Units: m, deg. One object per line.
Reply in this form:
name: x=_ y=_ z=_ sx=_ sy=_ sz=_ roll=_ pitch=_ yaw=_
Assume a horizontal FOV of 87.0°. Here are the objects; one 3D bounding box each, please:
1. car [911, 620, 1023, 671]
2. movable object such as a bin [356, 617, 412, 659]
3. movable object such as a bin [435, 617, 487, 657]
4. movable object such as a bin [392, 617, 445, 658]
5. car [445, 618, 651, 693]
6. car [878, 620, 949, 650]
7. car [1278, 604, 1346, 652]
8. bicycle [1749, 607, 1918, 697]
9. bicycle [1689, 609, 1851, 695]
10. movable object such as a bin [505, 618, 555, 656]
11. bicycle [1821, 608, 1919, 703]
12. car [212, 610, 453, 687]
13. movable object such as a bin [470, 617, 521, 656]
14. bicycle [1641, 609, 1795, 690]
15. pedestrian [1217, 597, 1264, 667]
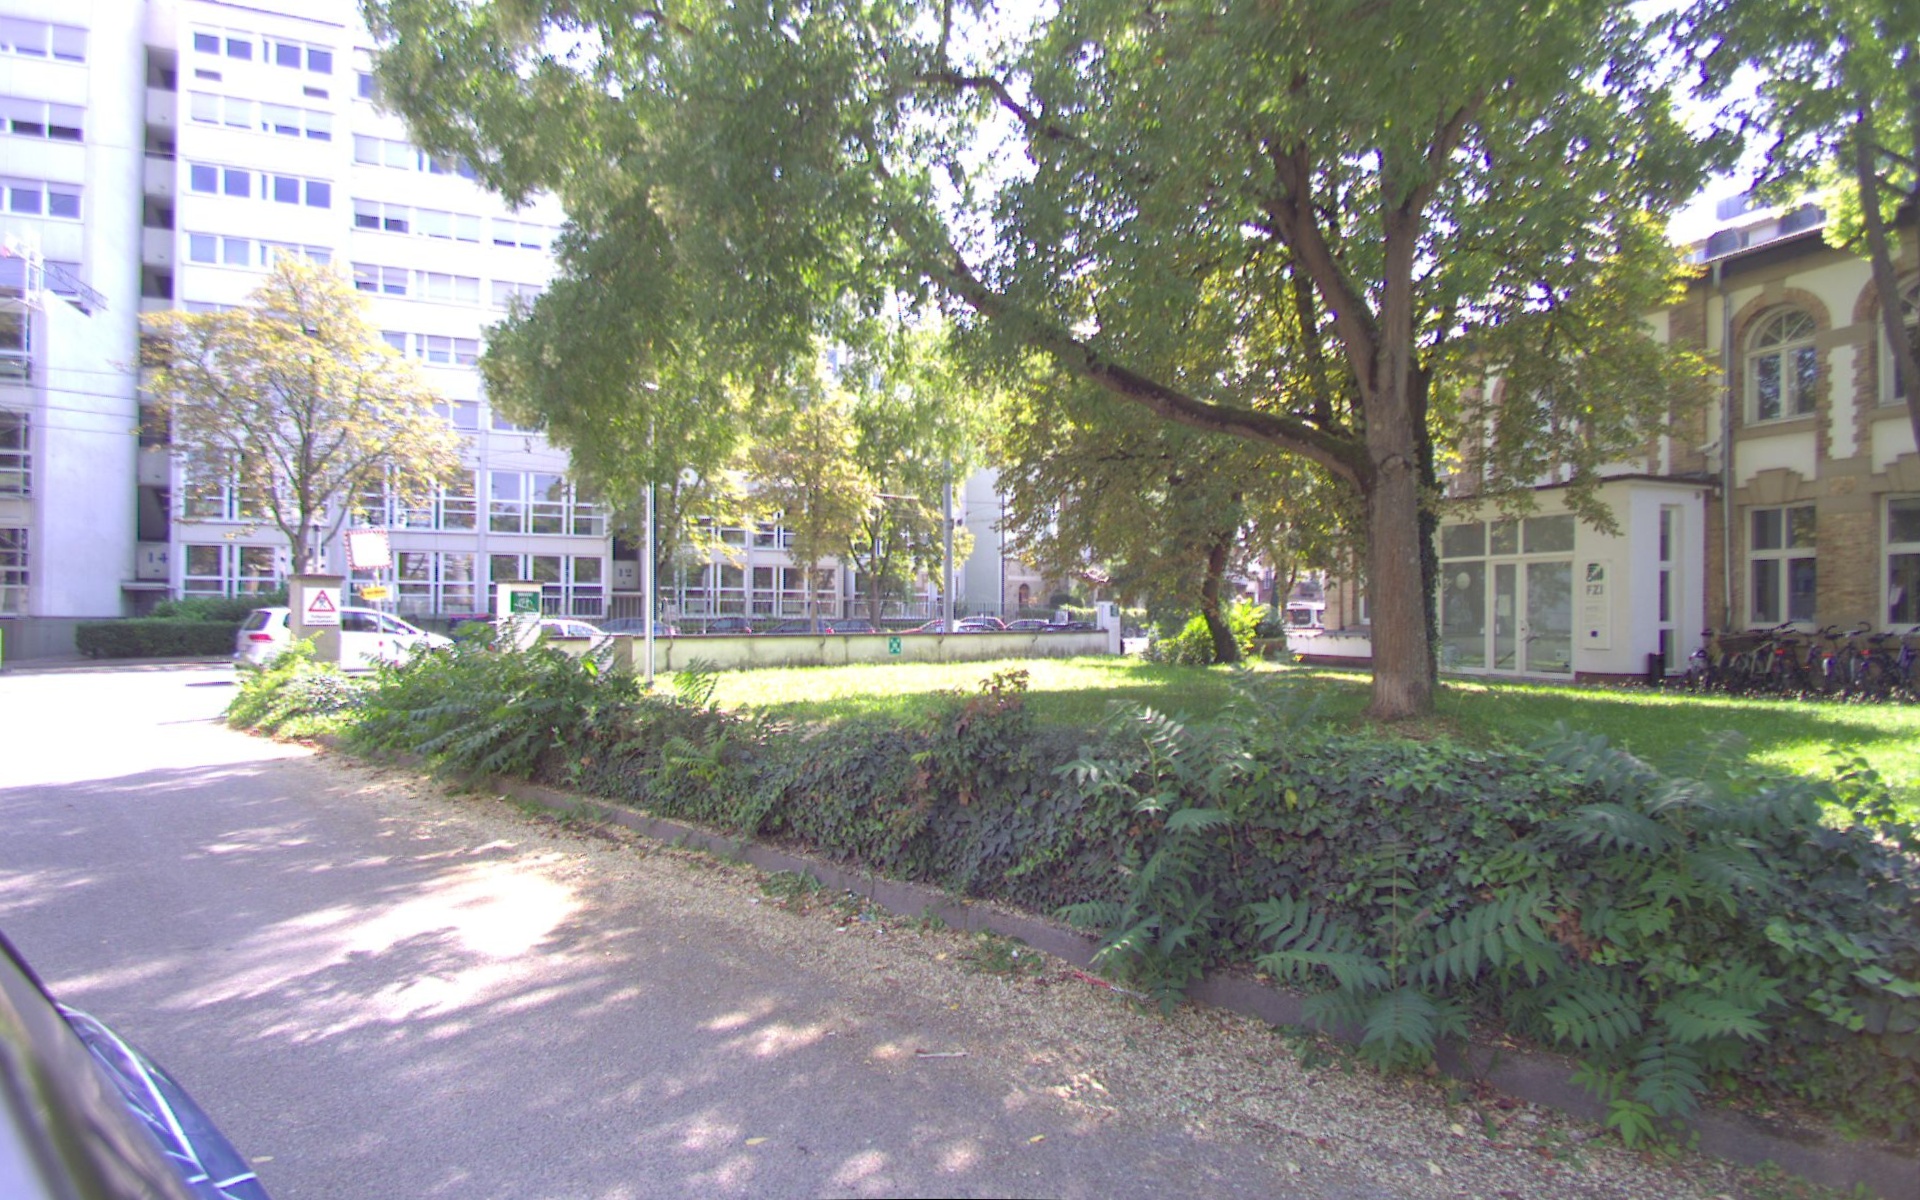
car: x=0.269 y=1.429 z=32.442 sx=1.645 sy=1.523 sz=3.590 roll=0 pitch=-2 yaw=41
movable object such as a bin: x=-21.902 y=1.428 z=38.458 sx=1.687 sy=1.571 sz=1.336 roll=-1 pitch=-2 yaw=40
movable object such as a bin: x=-20.314 y=1.498 z=41.173 sx=1.687 sy=1.571 sz=1.336 roll=-1 pitch=-2 yaw=40
movable object such as a bin: x=-21.313 y=1.465 z=39.830 sx=1.687 sy=1.571 sz=1.336 roll=-1 pitch=-2 yaw=40
car: x=-8.739 y=1.137 z=21.657 sx=1.797 sy=1.457 sz=3.679 roll=-2 pitch=-3 yaw=44
car: x=-2.392 y=1.830 z=52.922 sx=3.619 sy=1.463 sz=1.676 roll=1 pitch=-1 yaw=1
car: x=18.226 y=1.423 z=52.351 sx=1.999 sy=2.383 sz=3.945 roll=0 pitch=-1 yaw=42
bicycle: x=13.364 y=0.793 z=15.481 sx=2.483 sy=1.312 sz=0.774 roll=1 pitch=-1 yaw=-18
bicycle: x=12.956 y=0.823 z=16.194 sx=2.483 sy=1.312 sz=0.774 roll=1 pitch=-1 yaw=-18
movable object such as a bin: x=-18.359 y=1.558 z=43.237 sx=1.687 sy=1.571 sz=1.336 roll=-1 pitch=-2 yaw=40
bicycle: x=13.775 y=0.794 z=14.661 sx=2.483 sy=1.312 sz=0.774 roll=1 pitch=-1 yaw=-18
car: x=-14.177 y=1.016 z=23.051 sx=2.000 sy=1.572 sz=4.301 roll=-1 pitch=-1 yaw=42
movable object such as a bin: x=-19.329 y=1.523 z=42.151 sx=1.687 sy=1.571 sz=1.336 roll=-1 pitch=-2 yaw=40
bicycle: x=12.797 y=0.831 z=17.081 sx=2.483 sy=1.312 sz=0.774 roll=1 pitch=-1 yaw=-18
pedestrian: x=7.564 y=0.869 z=27.340 sx=0.723 sy=1.842 sz=1.133 roll=1 pitch=-2 yaw=-18
